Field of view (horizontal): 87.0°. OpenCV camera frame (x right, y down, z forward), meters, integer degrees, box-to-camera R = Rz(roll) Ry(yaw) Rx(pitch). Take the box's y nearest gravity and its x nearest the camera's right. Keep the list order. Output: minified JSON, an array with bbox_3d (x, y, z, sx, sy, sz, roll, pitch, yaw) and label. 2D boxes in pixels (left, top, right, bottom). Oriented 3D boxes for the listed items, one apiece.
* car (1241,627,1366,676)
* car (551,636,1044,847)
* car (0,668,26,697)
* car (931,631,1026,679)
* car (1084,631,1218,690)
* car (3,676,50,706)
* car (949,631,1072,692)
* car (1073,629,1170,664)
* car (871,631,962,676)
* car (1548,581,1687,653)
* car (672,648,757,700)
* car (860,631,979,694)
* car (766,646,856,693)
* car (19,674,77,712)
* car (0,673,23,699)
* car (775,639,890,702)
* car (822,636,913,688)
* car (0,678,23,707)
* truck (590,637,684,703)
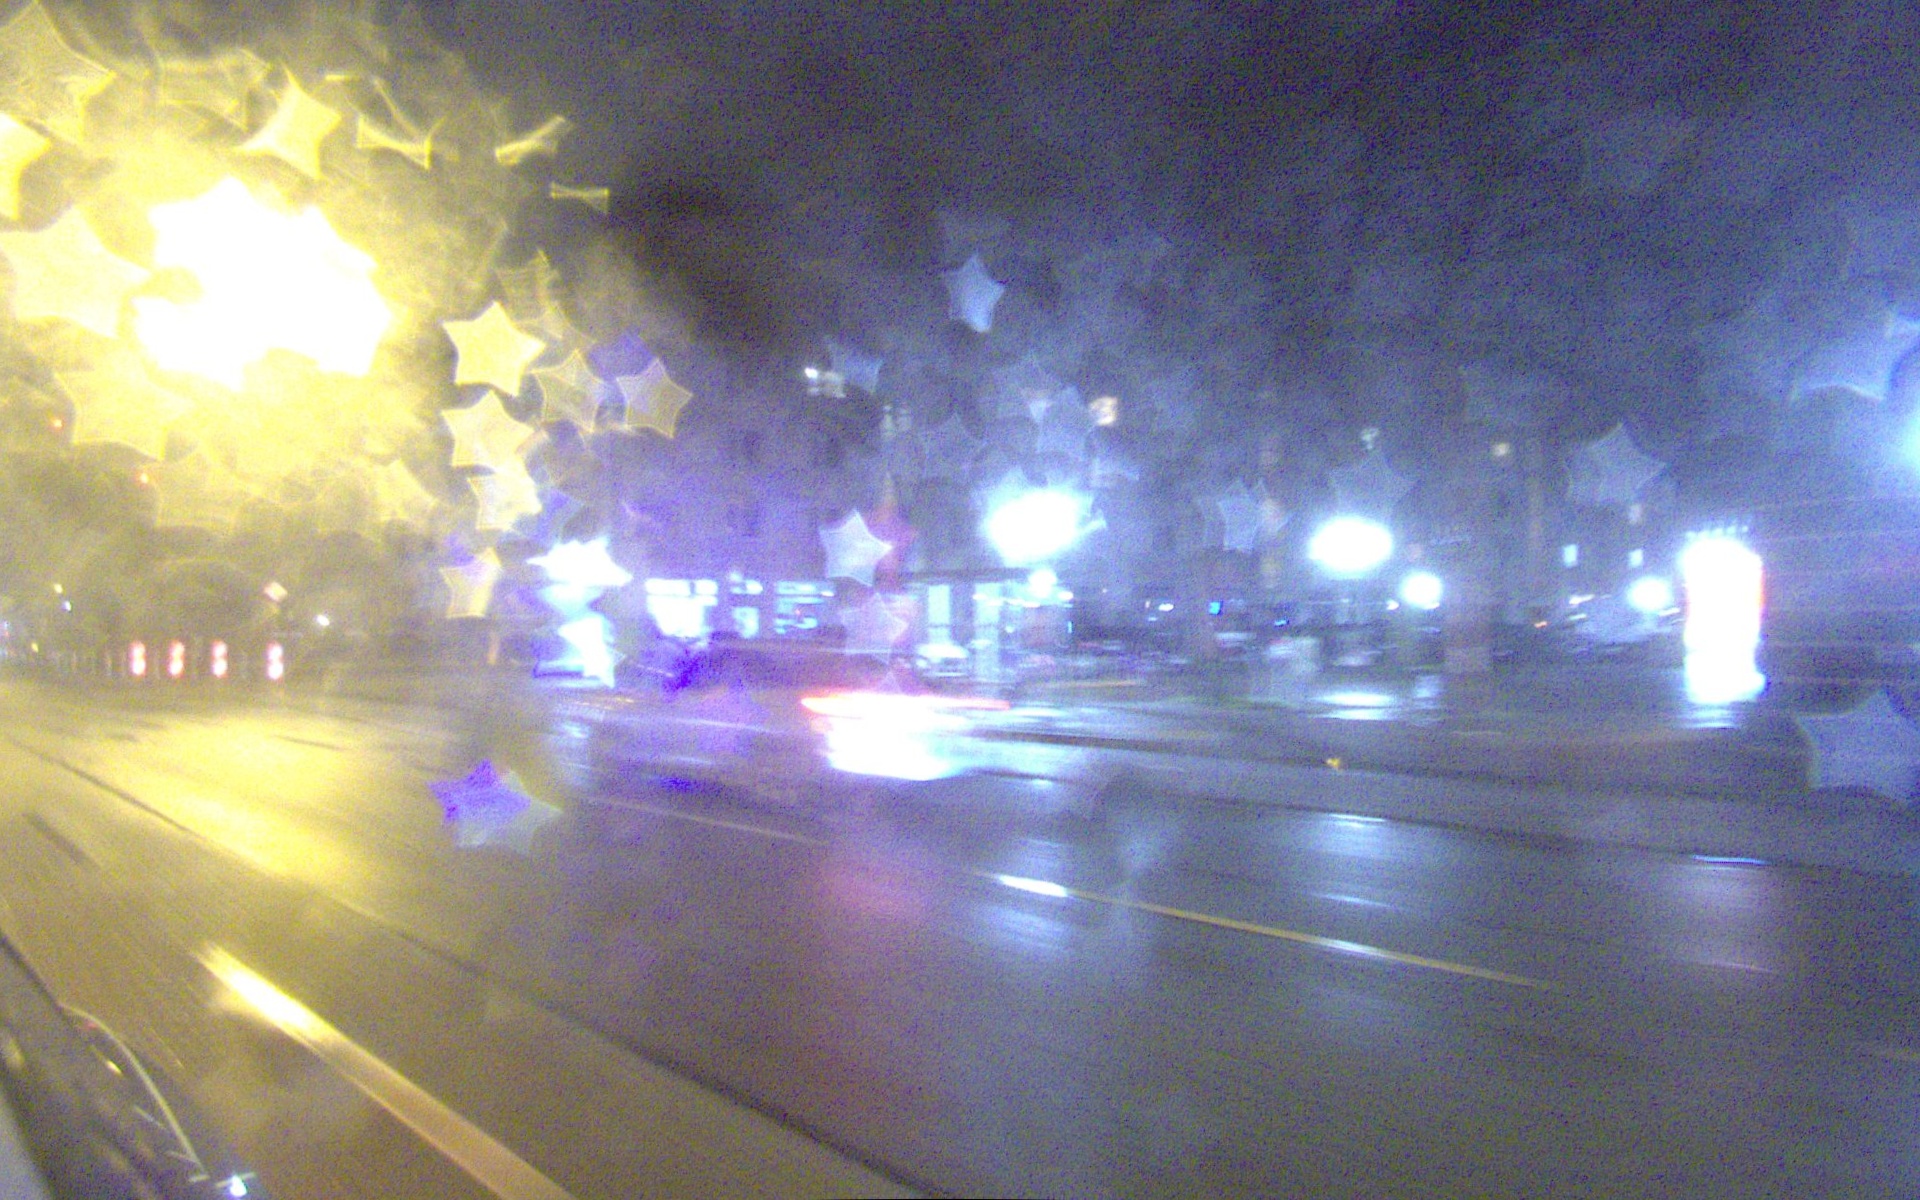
[{"bbox_3d":[11.610,1.747,34.474,1.689,1.532,3.931,-1,-3,-27],"label":"car"},{"bbox_3d":[-1.721,1.194,9.559,4.762,1.511,1.835,-4,-4,38],"label":"car"},{"bbox_3d":[-55.841,4.805,59.122,4.260,1.617,1.580,-4,-6,45],"label":"car"},{"bbox_3d":[0.654,2.212,40.749,1.838,1.774,4.508,-1,-3,-28],"label":"car"},{"bbox_3d":[5.410,1.721,29.155,1.689,1.532,3.931,-1,-3,-27],"label":"car"},{"bbox_3d":[-47.571,4.607,51.558,4.068,1.384,1.580,-5,-4,44],"label":"car"},{"bbox_3d":[1.325,1.693,28.340,1.689,1.532,3.931,-1,-3,-27],"label":"car"},{"bbox_3d":[7.059,2.061,44.661,1.838,1.454,4.508,-1,-3,-28],"label":"car"},{"bbox_3d":[-1.789,2.122,40.155,1.838,1.625,4.508,-1,-3,-28],"label":"car"},{"bbox_3d":[26.616,0.757,41.125,1.689,2.752,4.368,-1,-3,-27],"label":"car"},{"bbox_3d":[-8.710,2.561,35.629,1.838,1.625,4.508,-1,-3,-28],"label":"car"},{"bbox_3d":[-1.169,1.655,27.264,1.689,1.532,3.931,-1,-3,-27],"label":"car"},{"bbox_3d":[-5.545,2.514,37.213,1.838,1.552,4.508,-1,-3,-28],"label":"car"},{"bbox_3d":[-40.272,4.076,44.652,4.381,1.576,1.580,-4,-6,45],"label":"car"},{"bbox_3d":[-66.088,5.884,69.877,3.373,1.631,1.459,-4,-15,42],"label":"car"},{"bbox_3d":[-3.372,1.780,26.083,1.689,1.442,3.931,-1,-3,-27],"label":"car"},{"bbox_3d":[-3.611,2.343,38.564,1.838,1.808,4.508,-1,-3,-28],"label":"car"},{"bbox_3d":[-52.377,5.026,55.183,4.276,1.498,1.580,-4,-6,45],"label":"car"},{"bbox_3d":[-11.111,2.378,34.526,2.093,2.029,5.278,0,-3,-28],"label":"truck"}]
